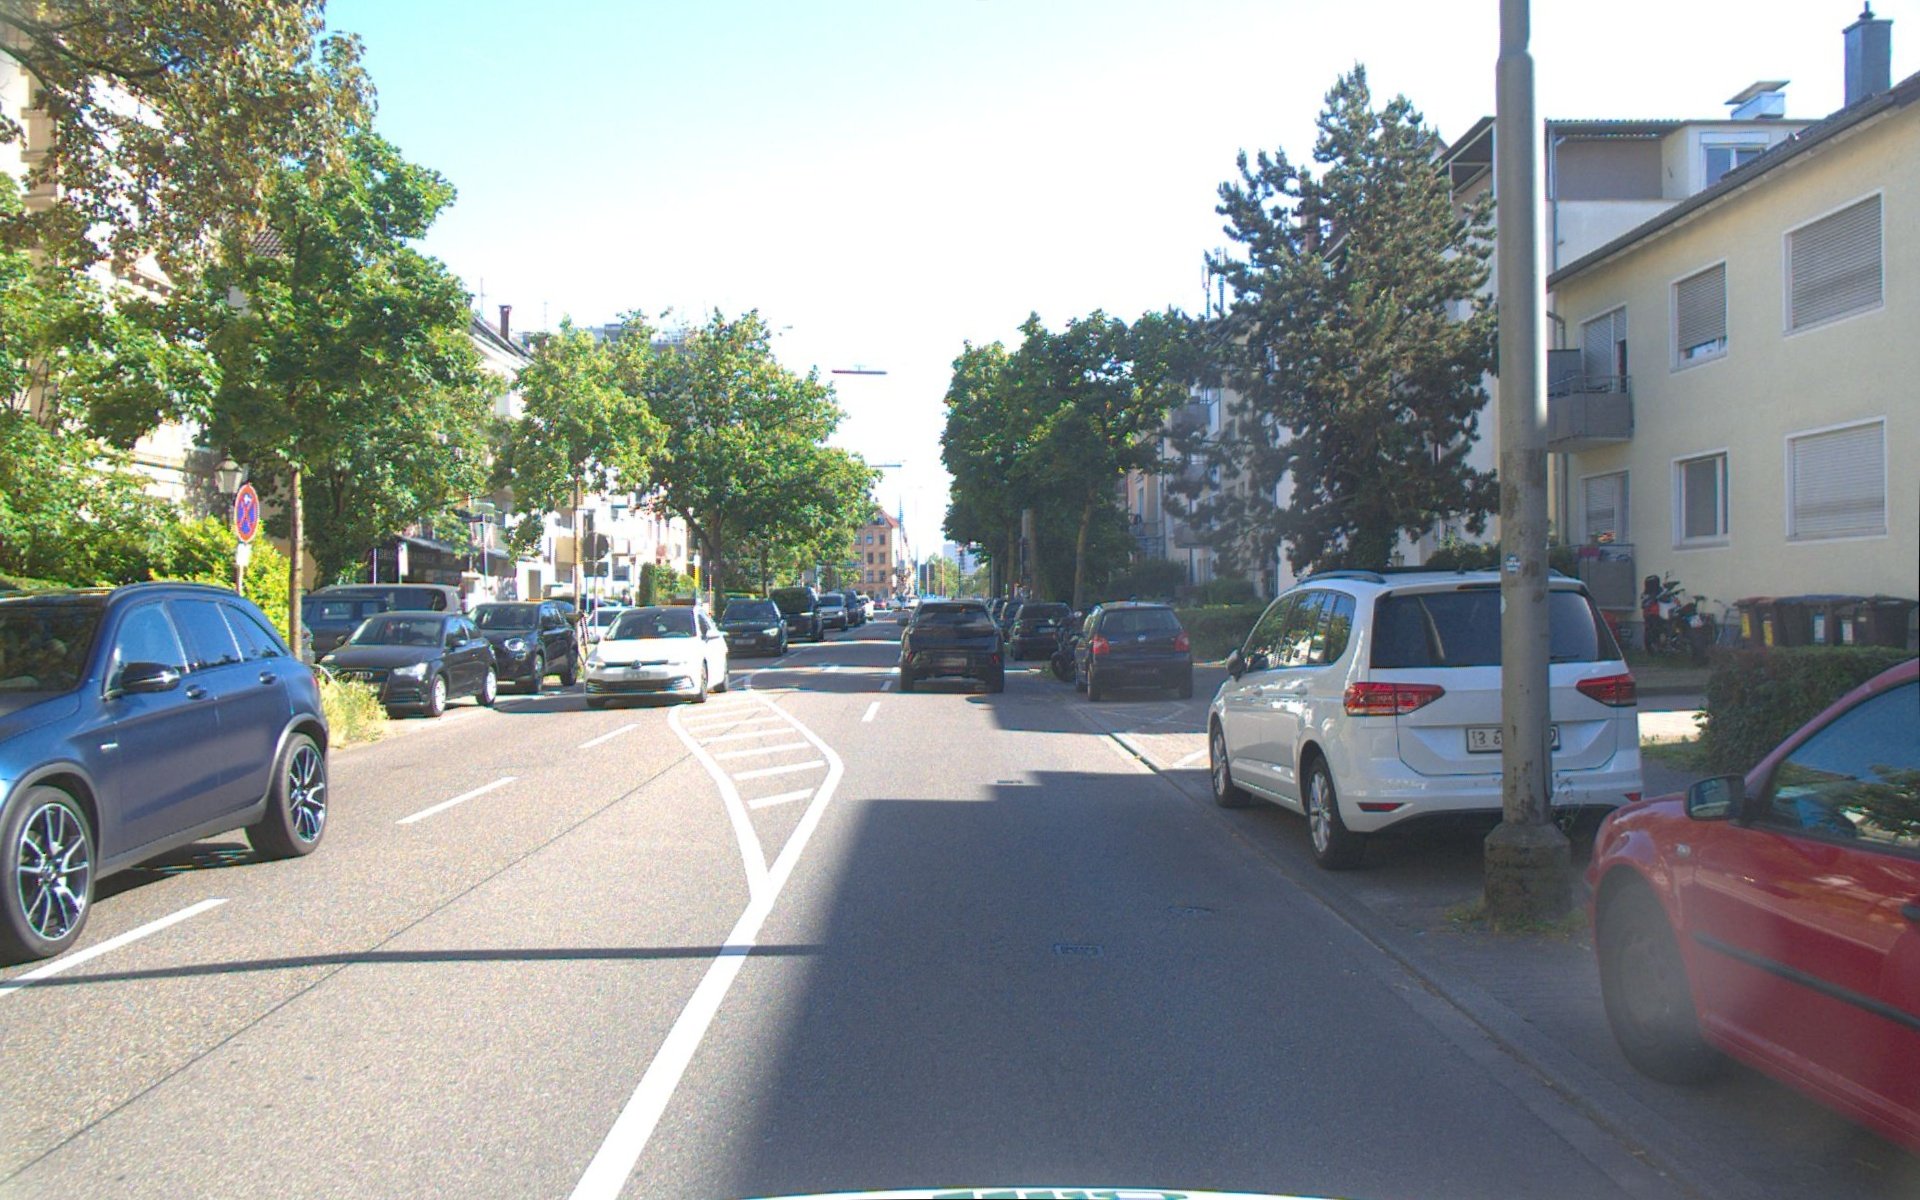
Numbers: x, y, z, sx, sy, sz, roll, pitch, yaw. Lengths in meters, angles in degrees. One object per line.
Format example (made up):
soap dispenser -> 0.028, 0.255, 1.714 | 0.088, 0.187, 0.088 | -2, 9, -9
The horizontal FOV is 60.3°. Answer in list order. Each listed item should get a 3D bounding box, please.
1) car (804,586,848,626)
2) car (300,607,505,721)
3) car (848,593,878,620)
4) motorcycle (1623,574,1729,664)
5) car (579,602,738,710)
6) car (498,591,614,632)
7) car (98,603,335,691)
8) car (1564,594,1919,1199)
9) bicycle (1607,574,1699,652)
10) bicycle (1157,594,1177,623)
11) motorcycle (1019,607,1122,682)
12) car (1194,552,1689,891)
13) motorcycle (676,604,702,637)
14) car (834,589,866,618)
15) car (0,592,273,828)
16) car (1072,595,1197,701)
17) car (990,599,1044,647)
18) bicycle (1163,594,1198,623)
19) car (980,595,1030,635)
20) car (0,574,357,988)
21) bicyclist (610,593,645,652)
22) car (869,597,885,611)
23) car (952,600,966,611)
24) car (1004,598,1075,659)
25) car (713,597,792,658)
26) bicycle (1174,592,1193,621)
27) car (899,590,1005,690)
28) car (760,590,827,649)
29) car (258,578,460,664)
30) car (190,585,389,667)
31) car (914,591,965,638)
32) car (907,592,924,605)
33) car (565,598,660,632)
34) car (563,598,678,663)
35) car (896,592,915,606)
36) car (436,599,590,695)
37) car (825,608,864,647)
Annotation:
car -> -6.336, 0.282, 78.613 | 1.779, 1.773, 4.492 | -3, 0, -2
car -> -7.909, 0.854, 23.853 | 1.603, 1.441, 4.089 | 1, 0, -1
car -> -6.546, 0.441, 111.782 | 1.770, 1.676, 4.671 | -3, 0, -2
motorcycle -> 11.710, 0.296, 27.128 | 0.623, 1.400, 2.425 | -1, 0, -1
car -> -4.583, 0.803, 25.712 | 1.698, 1.437, 4.191 | -3, 0, -1
car -> -15.308, 0.419, 62.750 | 3.902, 1.486, 1.734 | 0, 0, 8
car -> -13.629, 0.815, 30.342 | 3.865, 1.514, 1.616 | 0, 0, -29
car -> 2.914, 0.731, 3.884 | 1.501, 1.475, 3.716 | -1, 0, -2
bicycle -> 12.414, 0.223, 29.704 | 0.586, 1.326, 2.425 | -1, 0, -1
bicycle -> 9.783, 0.394, 78.187 | 0.610, 1.310, 1.842 | -3, 0, -1
motorcycle -> 1.996, 0.796, 30.382 | 0.689, 1.294, 2.409 | -2, 0, -28
car -> 2.788, 0.615, 10.667 | 1.733, 1.688, 4.339 | -2, 0, -2
motorcycle -> -9.742, 0.744, 59.525 | 0.451, 1.145, 1.718 | 0, 0, 7
car -> -6.590, 0.194, 99.471 | 1.684, 1.593, 4.341 | -3, 0, -1
car -> -7.332, 0.754, 13.641 | 1.592, 1.616, 4.346 | 1, 0, -2
car -> 2.695, 0.707, 26.224 | 1.587, 1.525, 3.649 | -1, 0, 0
car -> 1.847, 0.720, 53.831 | 1.657, 1.453, 4.148 | -1, 0, 2
bicycle -> 10.179, 0.394, 76.433 | 1.506, 1.244, 0.463 | -3, 0, 30
car -> 1.780, 0.573, 66.626 | 1.680, 1.515, 4.232 | -1, 0, -2
car -> -4.782, 0.756, 8.477 | 1.799, 1.642, 4.399 | -3, 0, -2
bicyclist -> -10.636, 0.709, 52.949 | 0.654, 1.856, 1.039 | -1, 0, -40
car -> -9.995, 0.436, 199.944 | 1.754, 1.645, 4.000 | -1, 0, 0
car -> -0.159, 0.798, 249.047 | 1.952, 1.546, 4.000 | 2, 0, 1
car -> 1.988, 0.691, 42.493 | 1.554, 1.420, 4.453 | -2, 0, 0
car -> -5.567, 0.709, 44.722 | 1.657, 1.479, 4.172 | -3, 0, -2
bicycle -> 10.573, 0.312, 78.138 | 0.579, 1.310, 1.689 | -3, 0, -1
car -> -0.155, 0.649, 28.652 | 1.710, 1.601, 3.557 | 1, 0, -1
car -> -5.997, 0.670, 60.063 | 1.976, 1.986, 5.176 | -2, 0, -2
car -> -13.949, 0.452, 38.398 | 4.262, 1.912, 1.864 | 0, 0, -27
car -> -14.323, 0.531, 35.364 | 3.858, 1.673, 1.667 | 0, 0, -25
car -> -0.723, 0.494, 59.627 | 1.792, 1.606, 3.839 | -1, 0, 0
car -> -5.276, -0.215, 196.843 | 1.735, 1.478, 3.886 | -1, 0, 2
car -> -15.621, 0.670, 74.517 | 3.906, 1.512, 1.880 | 0, 0, -2
car -> -7.870, 0.665, 38.766 | 1.796, 1.413, 4.801 | 1, 0, -1
car -> -5.676, -0.126, 171.880 | 1.735, 1.478, 3.886 | -1, 0, 1
car -> -7.913, 0.787, 29.598 | 1.643, 1.582, 4.007 | 0, 0, 0
car -> -6.247, 1.441, 89.513 | 1.766, 1.944, 4.711 | -3, 0, -1
